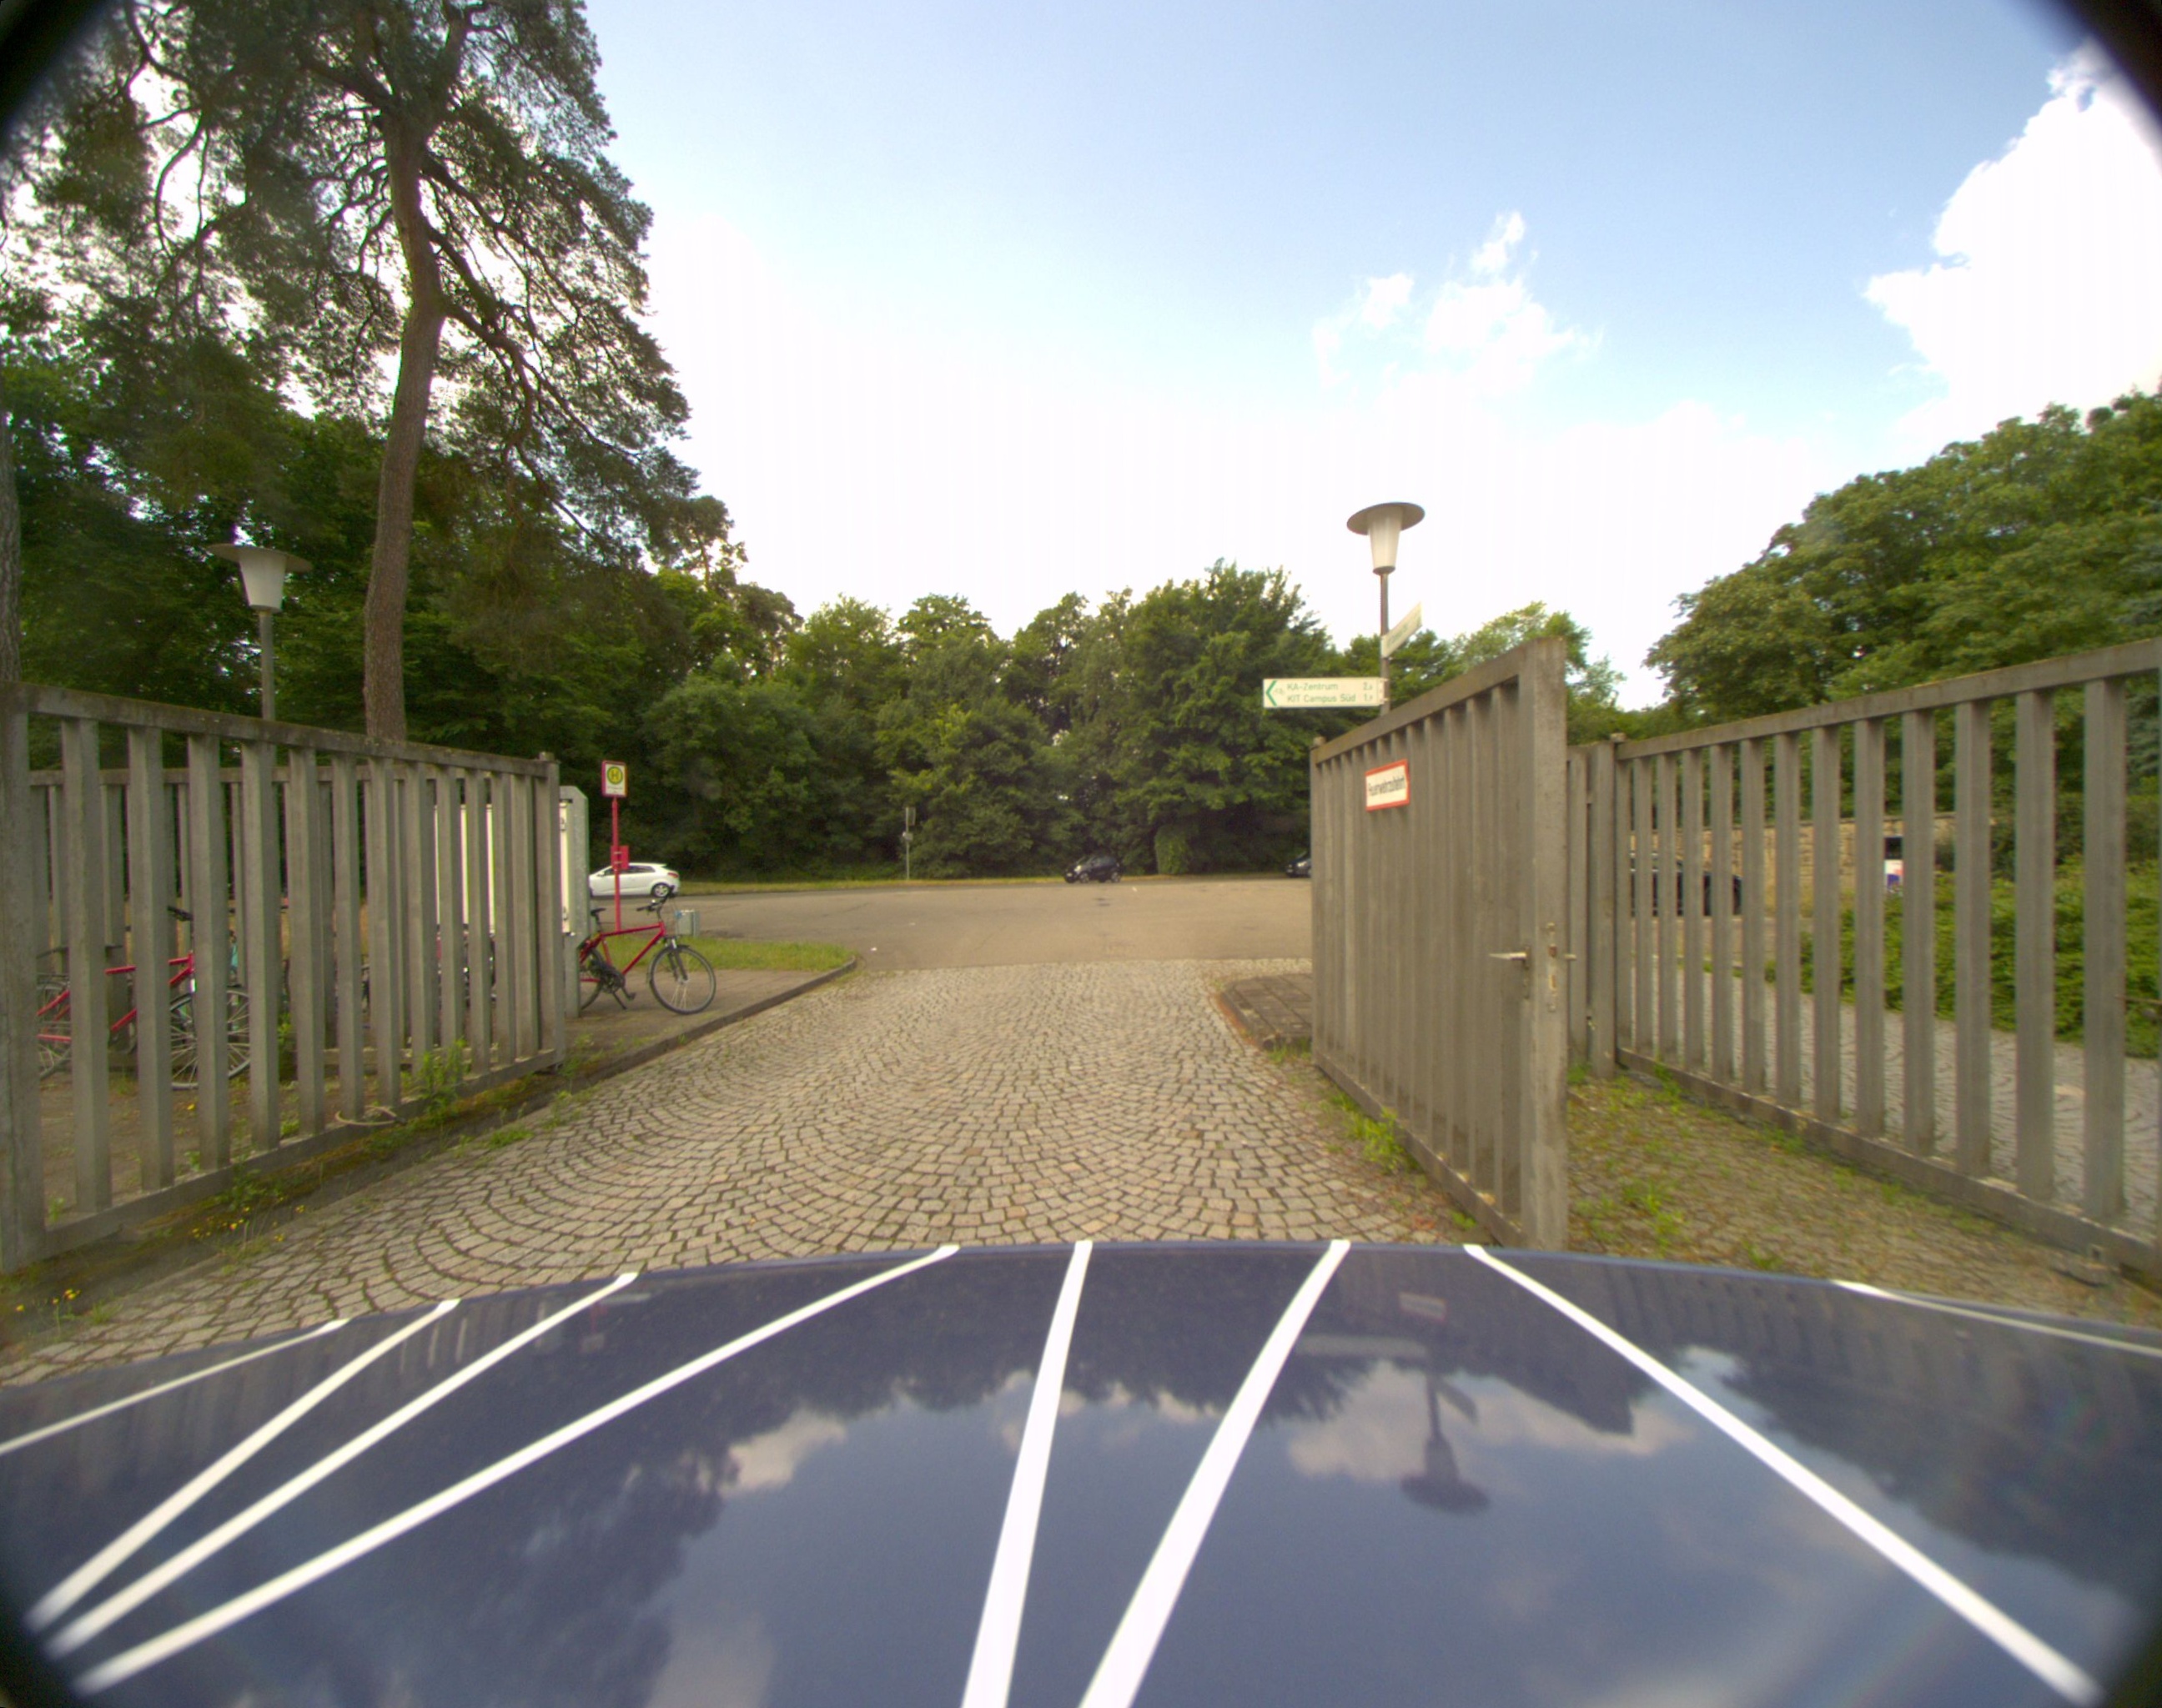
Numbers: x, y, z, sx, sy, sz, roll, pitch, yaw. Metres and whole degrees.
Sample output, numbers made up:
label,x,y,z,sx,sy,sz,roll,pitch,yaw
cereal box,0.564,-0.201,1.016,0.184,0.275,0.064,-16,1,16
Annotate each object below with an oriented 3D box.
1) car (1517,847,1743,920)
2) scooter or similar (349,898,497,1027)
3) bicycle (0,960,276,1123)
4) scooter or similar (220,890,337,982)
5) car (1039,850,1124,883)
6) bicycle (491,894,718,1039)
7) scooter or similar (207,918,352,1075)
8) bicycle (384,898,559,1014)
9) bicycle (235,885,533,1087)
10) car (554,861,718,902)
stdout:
label,x,y,z,sx,sy,sz,roll,pitch,yaw
car,13.133,0.691,18.400,3.996,1.537,1.900,-2,0,4
scooter or similar,-6.726,1.088,7.779,1.282,1.238,0.386,0,1,8
bicycle,-6.538,1.217,5.051,1.950,0.962,0.457,-1,1,3
scooter or similar,-11.138,1.132,10.561,1.090,1.221,0.438,1,2,-3
car,0.007,0.625,40.020,4.005,1.674,1.996,-1,1,-27
bicycle,-4.567,1.063,7.364,1.739,1.270,0.672,1,1,-2
scooter or similar,-7.001,1.186,6.696,0.439,1.143,1.249,-1,0,-26
bicycle,-6.691,1.082,8.361,1.608,1.155,0.623,0,0,13
bicycle,-5.270,0.961,5.781,1.904,1.409,0.516,0,2,7
car,-17.478,1.028,30.064,5.422,1.370,1.995,-1,0,-32
